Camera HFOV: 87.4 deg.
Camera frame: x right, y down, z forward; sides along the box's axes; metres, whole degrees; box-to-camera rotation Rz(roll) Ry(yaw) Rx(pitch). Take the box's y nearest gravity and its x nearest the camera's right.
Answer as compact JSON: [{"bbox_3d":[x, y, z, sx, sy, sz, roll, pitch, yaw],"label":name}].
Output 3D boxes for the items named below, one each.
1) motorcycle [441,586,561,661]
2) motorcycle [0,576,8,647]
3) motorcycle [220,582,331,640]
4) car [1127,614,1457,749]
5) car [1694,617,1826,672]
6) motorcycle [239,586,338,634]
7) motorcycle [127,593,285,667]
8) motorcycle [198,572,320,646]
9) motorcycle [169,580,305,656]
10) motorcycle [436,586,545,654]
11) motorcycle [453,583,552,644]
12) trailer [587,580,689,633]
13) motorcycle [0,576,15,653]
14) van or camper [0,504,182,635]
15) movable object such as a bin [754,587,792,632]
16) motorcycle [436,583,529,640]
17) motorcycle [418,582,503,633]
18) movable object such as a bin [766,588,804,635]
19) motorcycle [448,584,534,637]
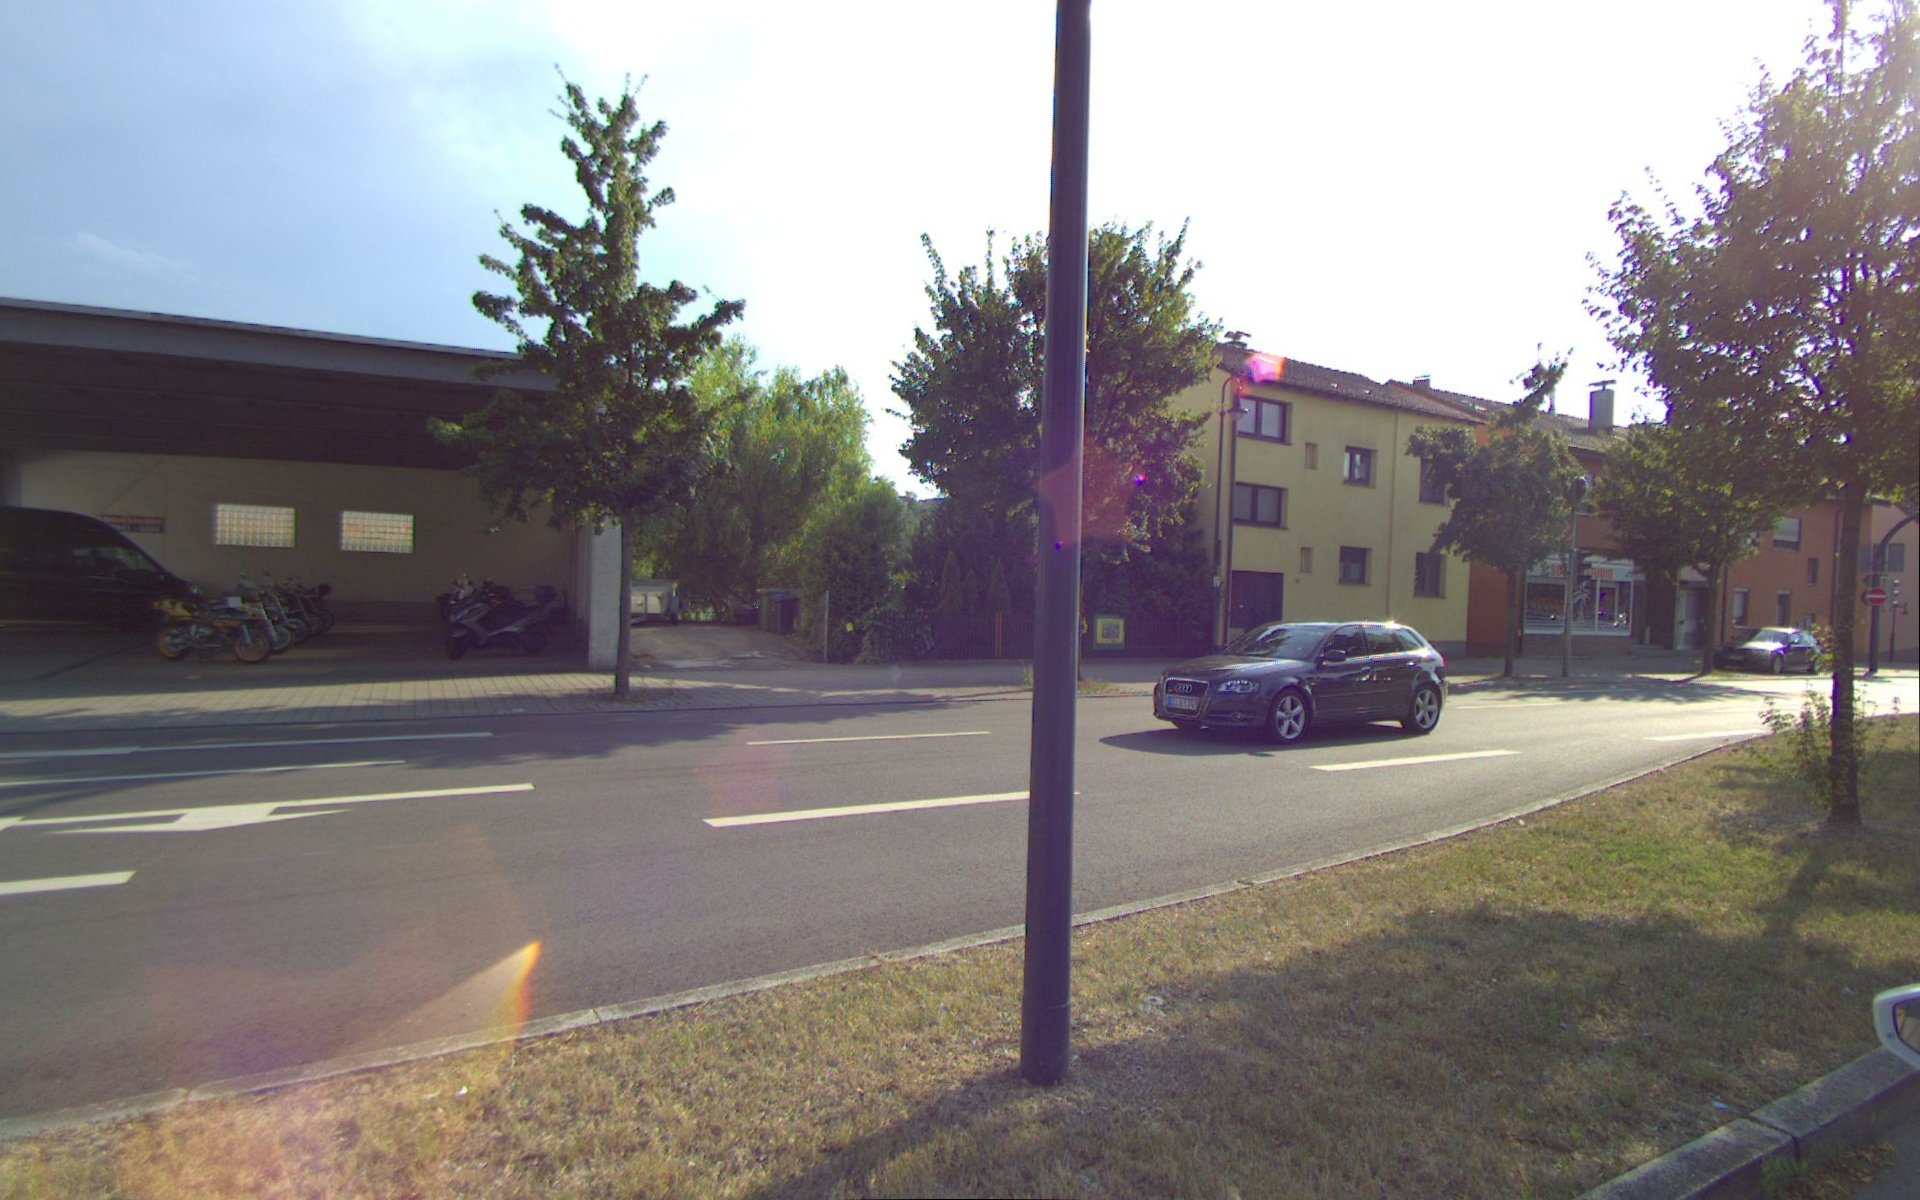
[{"bbox_3d":[-8.609,0.427,18.928,0.553,1.325,2.112,1,0,30],"label":"motorcycle"},{"bbox_3d":[-18.618,0.200,18.105,0.637,1.329,2.007,1,0,23],"label":"motorcycle"},{"bbox_3d":[-15.813,0.242,23.225,2.111,1.275,0.647,1,0,0],"label":"motorcycle"},{"bbox_3d":[4.201,0.923,12.500,4.143,1.405,1.636,1,0,-32],"label":"car"},{"bbox_3d":[25.921,1.427,32.534,3.949,1.573,1.836,1,2,-27],"label":"car"},{"bbox_3d":[-17.054,0.248,25.534,2.111,1.138,0.563,1,0,0],"label":"motorcycle"},{"bbox_3d":[-12.439,0.484,16.597,2.111,1.139,0.631,1,0,0],"label":"motorcycle"},{"bbox_3d":[-14.693,0.191,21.073,2.111,1.468,0.594,1,0,0],"label":"motorcycle"},{"bbox_3d":[-13.508,0.326,18.791,2.111,1.347,0.563,1,0,0],"label":"motorcycle"},{"bbox_3d":[-9.687,0.403,20.811,0.553,1.325,2.086,1,0,30],"label":"motorcycle"},{"bbox_3d":[-10.473,0.303,23.063,0.612,1.325,2.086,1,0,30],"label":"motorcycle"},{"bbox_3d":[-8.074,0.126,25.499,1.692,1.199,3.594,1,1,-5],"label":"trailer"},{"bbox_3d":[-17.222,0.233,16.777,0.637,1.329,2.007,1,0,23],"label":"motorcycle"},{"bbox_3d":[-20.448,-0.647,21.987,1.963,2.716,5.033,1,0,26],"label":"van or camper"},{"bbox_3d":[-4.763,0.245,25.598,0.712,1.101,0.727,1,3,-30],"label":"movable object such as a bin"},{"bbox_3d":[-11.647,0.287,24.574,0.573,1.325,2.086,1,0,30],"label":"motorcycle"},{"bbox_3d":[-13.492,0.217,27.176,0.553,1.325,2.086,1,0,30],"label":"motorcycle"},{"bbox_3d":[-4.322,0.274,24.826,0.688,1.101,0.727,1,3,-30],"label":"movable object such as a bin"},{"bbox_3d":[-12.300,0.274,26.424,0.553,1.325,2.086,1,0,30],"label":"motorcycle"}]
